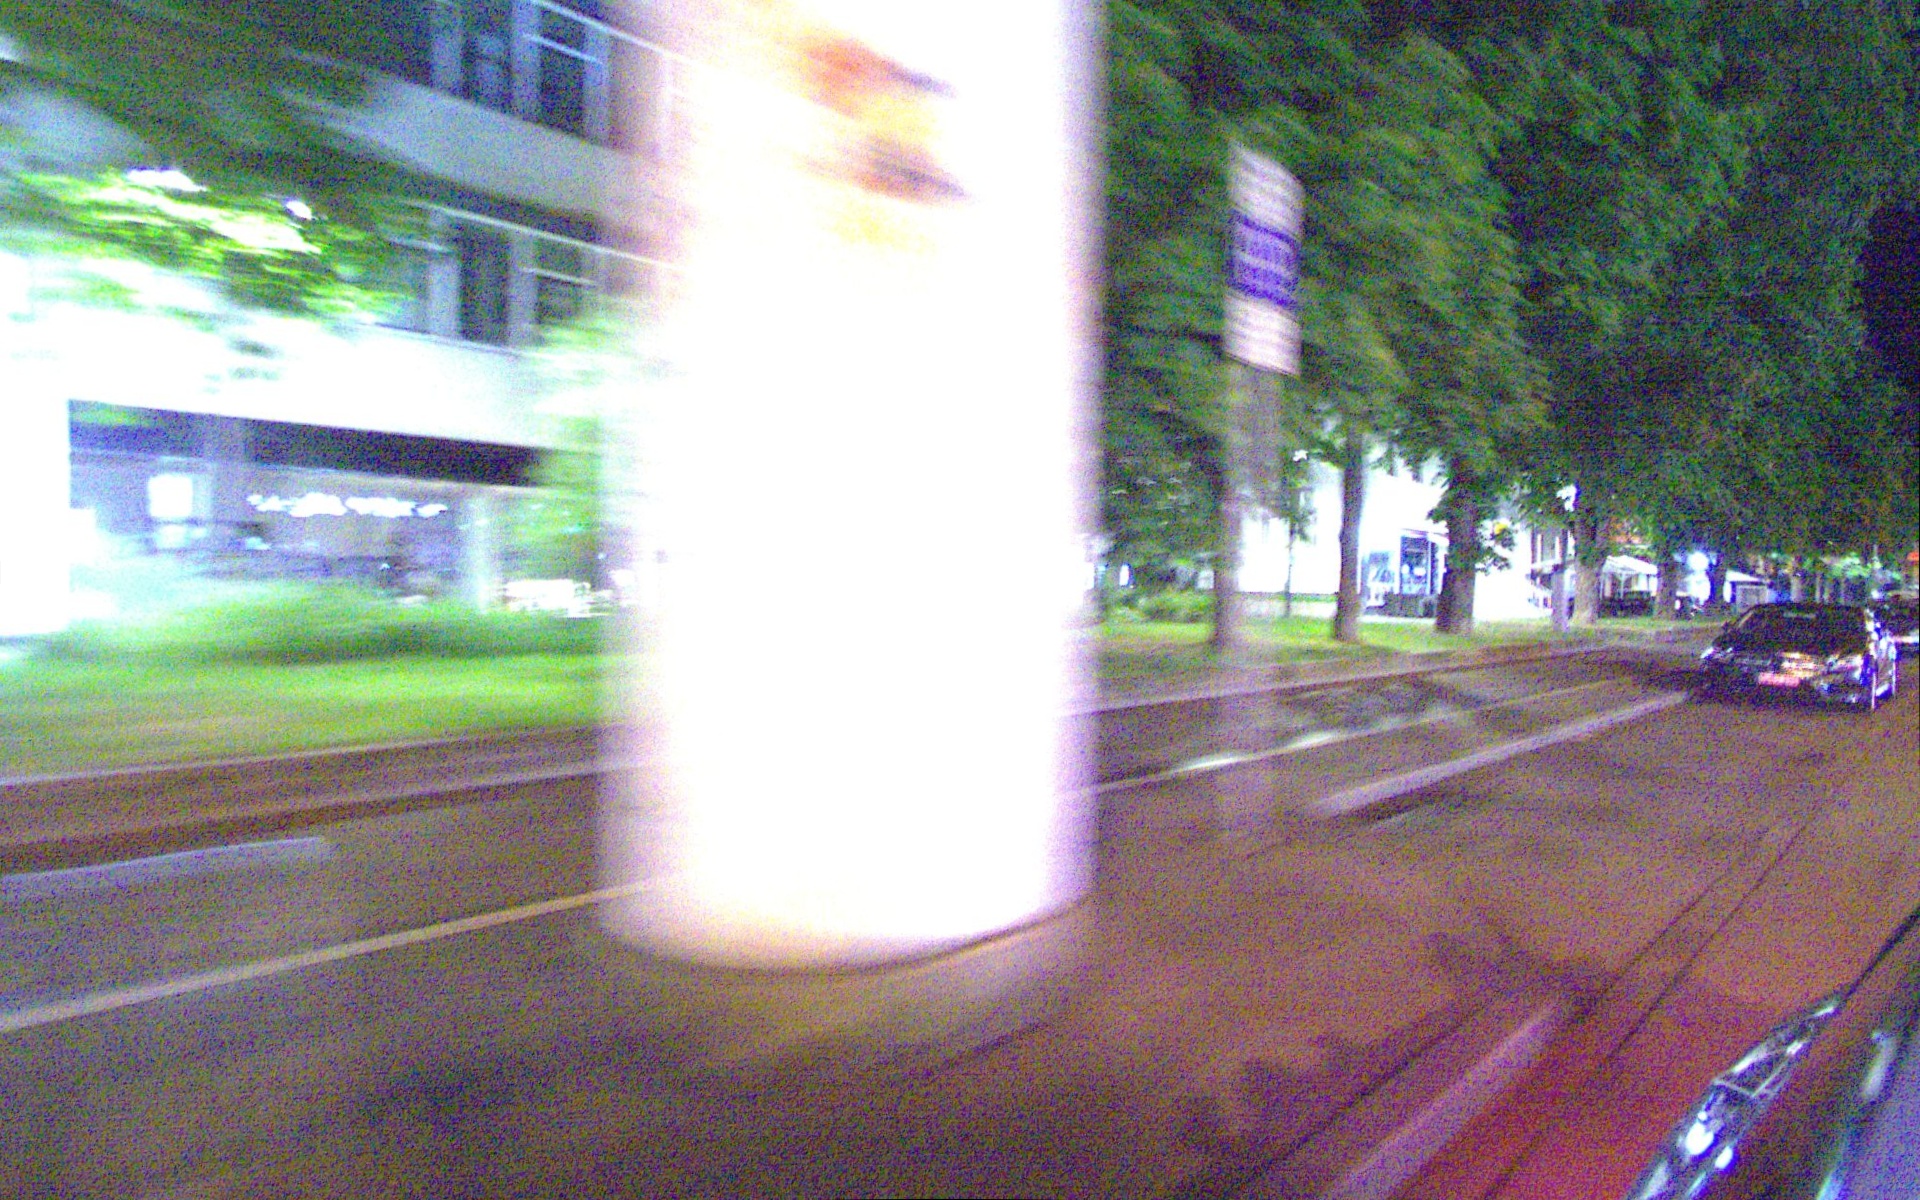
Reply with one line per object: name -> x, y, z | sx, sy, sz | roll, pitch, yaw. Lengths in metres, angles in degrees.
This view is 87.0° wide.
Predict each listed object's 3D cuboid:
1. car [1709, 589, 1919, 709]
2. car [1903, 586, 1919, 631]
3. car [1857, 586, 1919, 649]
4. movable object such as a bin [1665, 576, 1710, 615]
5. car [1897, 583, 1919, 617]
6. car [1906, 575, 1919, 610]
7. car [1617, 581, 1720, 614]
car -> 12.602, 0.600, 14.819 | 4.726, 1.432, 1.767 | 0, 2, -43
car -> 35.663, 0.348, 36.705 | 4.145, 1.555, 1.773 | 0, 4, -43
car -> 25.749, 0.449, 27.464 | 3.948, 1.555, 1.692 | 0, 3, -43
movable object such as a bin -> 26.443, -0.186, 36.797 | 0.977, 1.388, 1.161 | 0, 1, -45
car -> 54.483, 0.005, 57.358 | 4.504, 1.844, 1.790 | 0, 2, -45
car -> 67.448, -0.494, 70.334 | 2.132, 2.355, 5.077 | 3, 2, 40
car -> 38.450, -0.184, 54.981 | 1.774, 1.550, 4.320 | -2, 4, -44
